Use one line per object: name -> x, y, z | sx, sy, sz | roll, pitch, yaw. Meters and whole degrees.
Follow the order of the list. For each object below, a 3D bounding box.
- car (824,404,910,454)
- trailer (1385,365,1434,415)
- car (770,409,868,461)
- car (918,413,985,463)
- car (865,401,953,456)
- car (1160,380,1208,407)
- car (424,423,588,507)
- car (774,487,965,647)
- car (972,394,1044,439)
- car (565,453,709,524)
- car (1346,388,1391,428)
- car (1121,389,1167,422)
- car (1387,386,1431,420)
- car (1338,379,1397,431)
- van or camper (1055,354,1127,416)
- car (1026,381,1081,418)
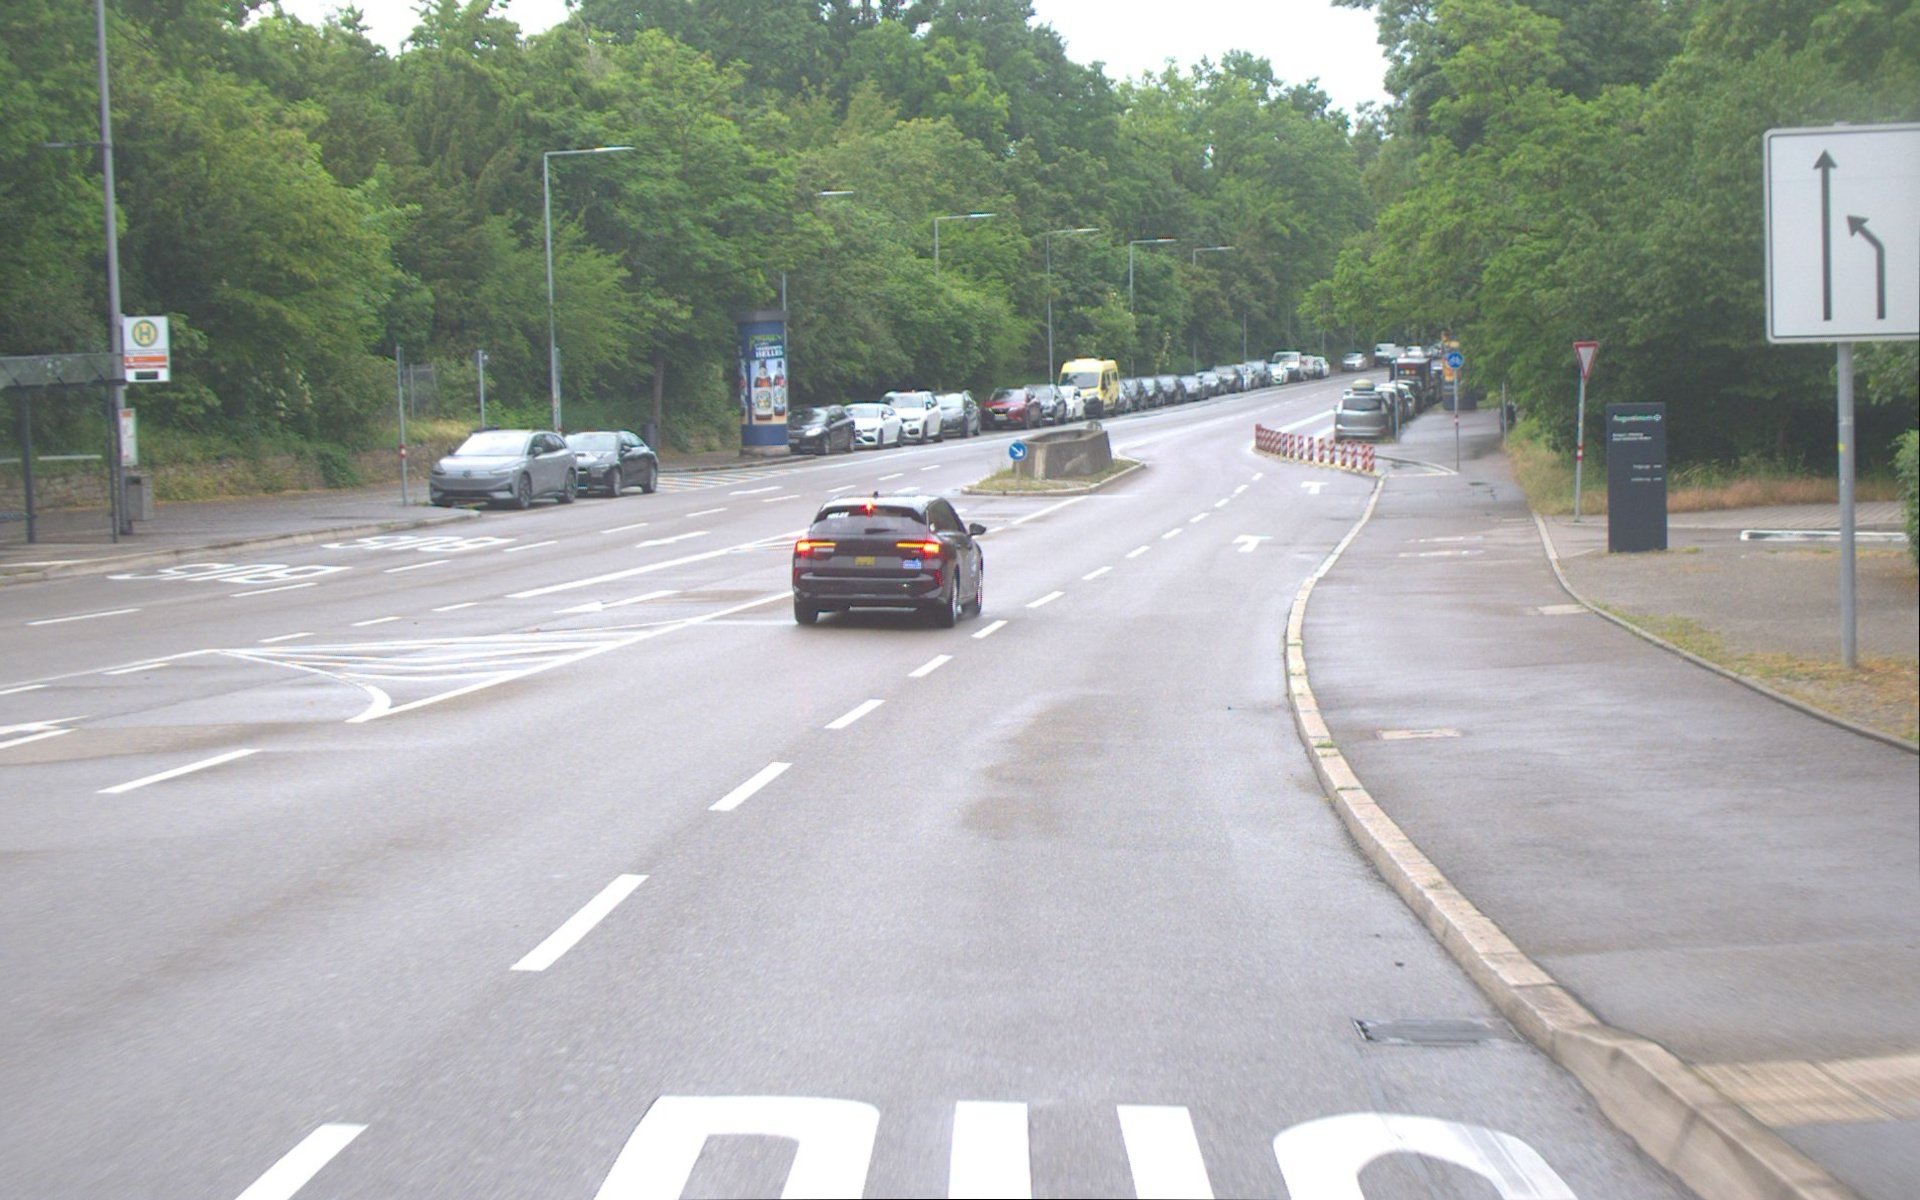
car -> -2.941, -5.479, 109.909 | 1.719, 1.455, 4.707 | 0, 4, 12
trailer -> 20.680, -9.674, 158.046 | 1.907, 2.239, 4.767 | 1, 5, 11
car -> -4.233, -5.017, 104.118 | 1.750, 1.440, 4.585 | 1, 4, 14
car -> -0.296, -5.815, 123.024 | 1.732, 1.643, 4.571 | 1, 4, 8
car -> -1.683, -5.793, 116.015 | 1.994, 1.759, 4.959 | 0, 4, 11
car -> 11.468, -10.576, 175.999 | 1.870, 1.299, 4.469 | 0, 4, 11
car -> -9.152, -2.765, 69.687 | 1.842, 1.583, 4.927 | 1, 3, 11
car -> -0.967, -0.418, 38.644 | 1.881, 1.460, 4.001 | 1, 5, 2
car -> 1.886, -7.165, 133.813 | 1.920, 1.611, 4.488 | 0, 4, 12
car -> -7.099, -2.498, 75.997 | 1.907, 1.409, 4.782 | 1, 3, 11
car -> 15.647, -7.375, 131.648 | 1.560, 1.455, 3.675 | 1, 4, 9
car -> 8.952, -9.485, 167.175 | 1.603, 1.504, 3.975 | 0, 5, 13
car -> 19.779, -8.676, 151.428 | 1.823, 1.480, 4.199 | 0, 3, 9
car -> 13.058, -6.247, 110.007 | 1.822, 1.609, 4.252 | 1, 4, 7
van or camper -> 5.808, -9.487, 151.314 | 2.145, 2.617, 5.680 | 0, 4, 13
car -> 3.931, -8.401, 144.030 | 1.618, 1.443, 3.656 | -1, 4, 12
